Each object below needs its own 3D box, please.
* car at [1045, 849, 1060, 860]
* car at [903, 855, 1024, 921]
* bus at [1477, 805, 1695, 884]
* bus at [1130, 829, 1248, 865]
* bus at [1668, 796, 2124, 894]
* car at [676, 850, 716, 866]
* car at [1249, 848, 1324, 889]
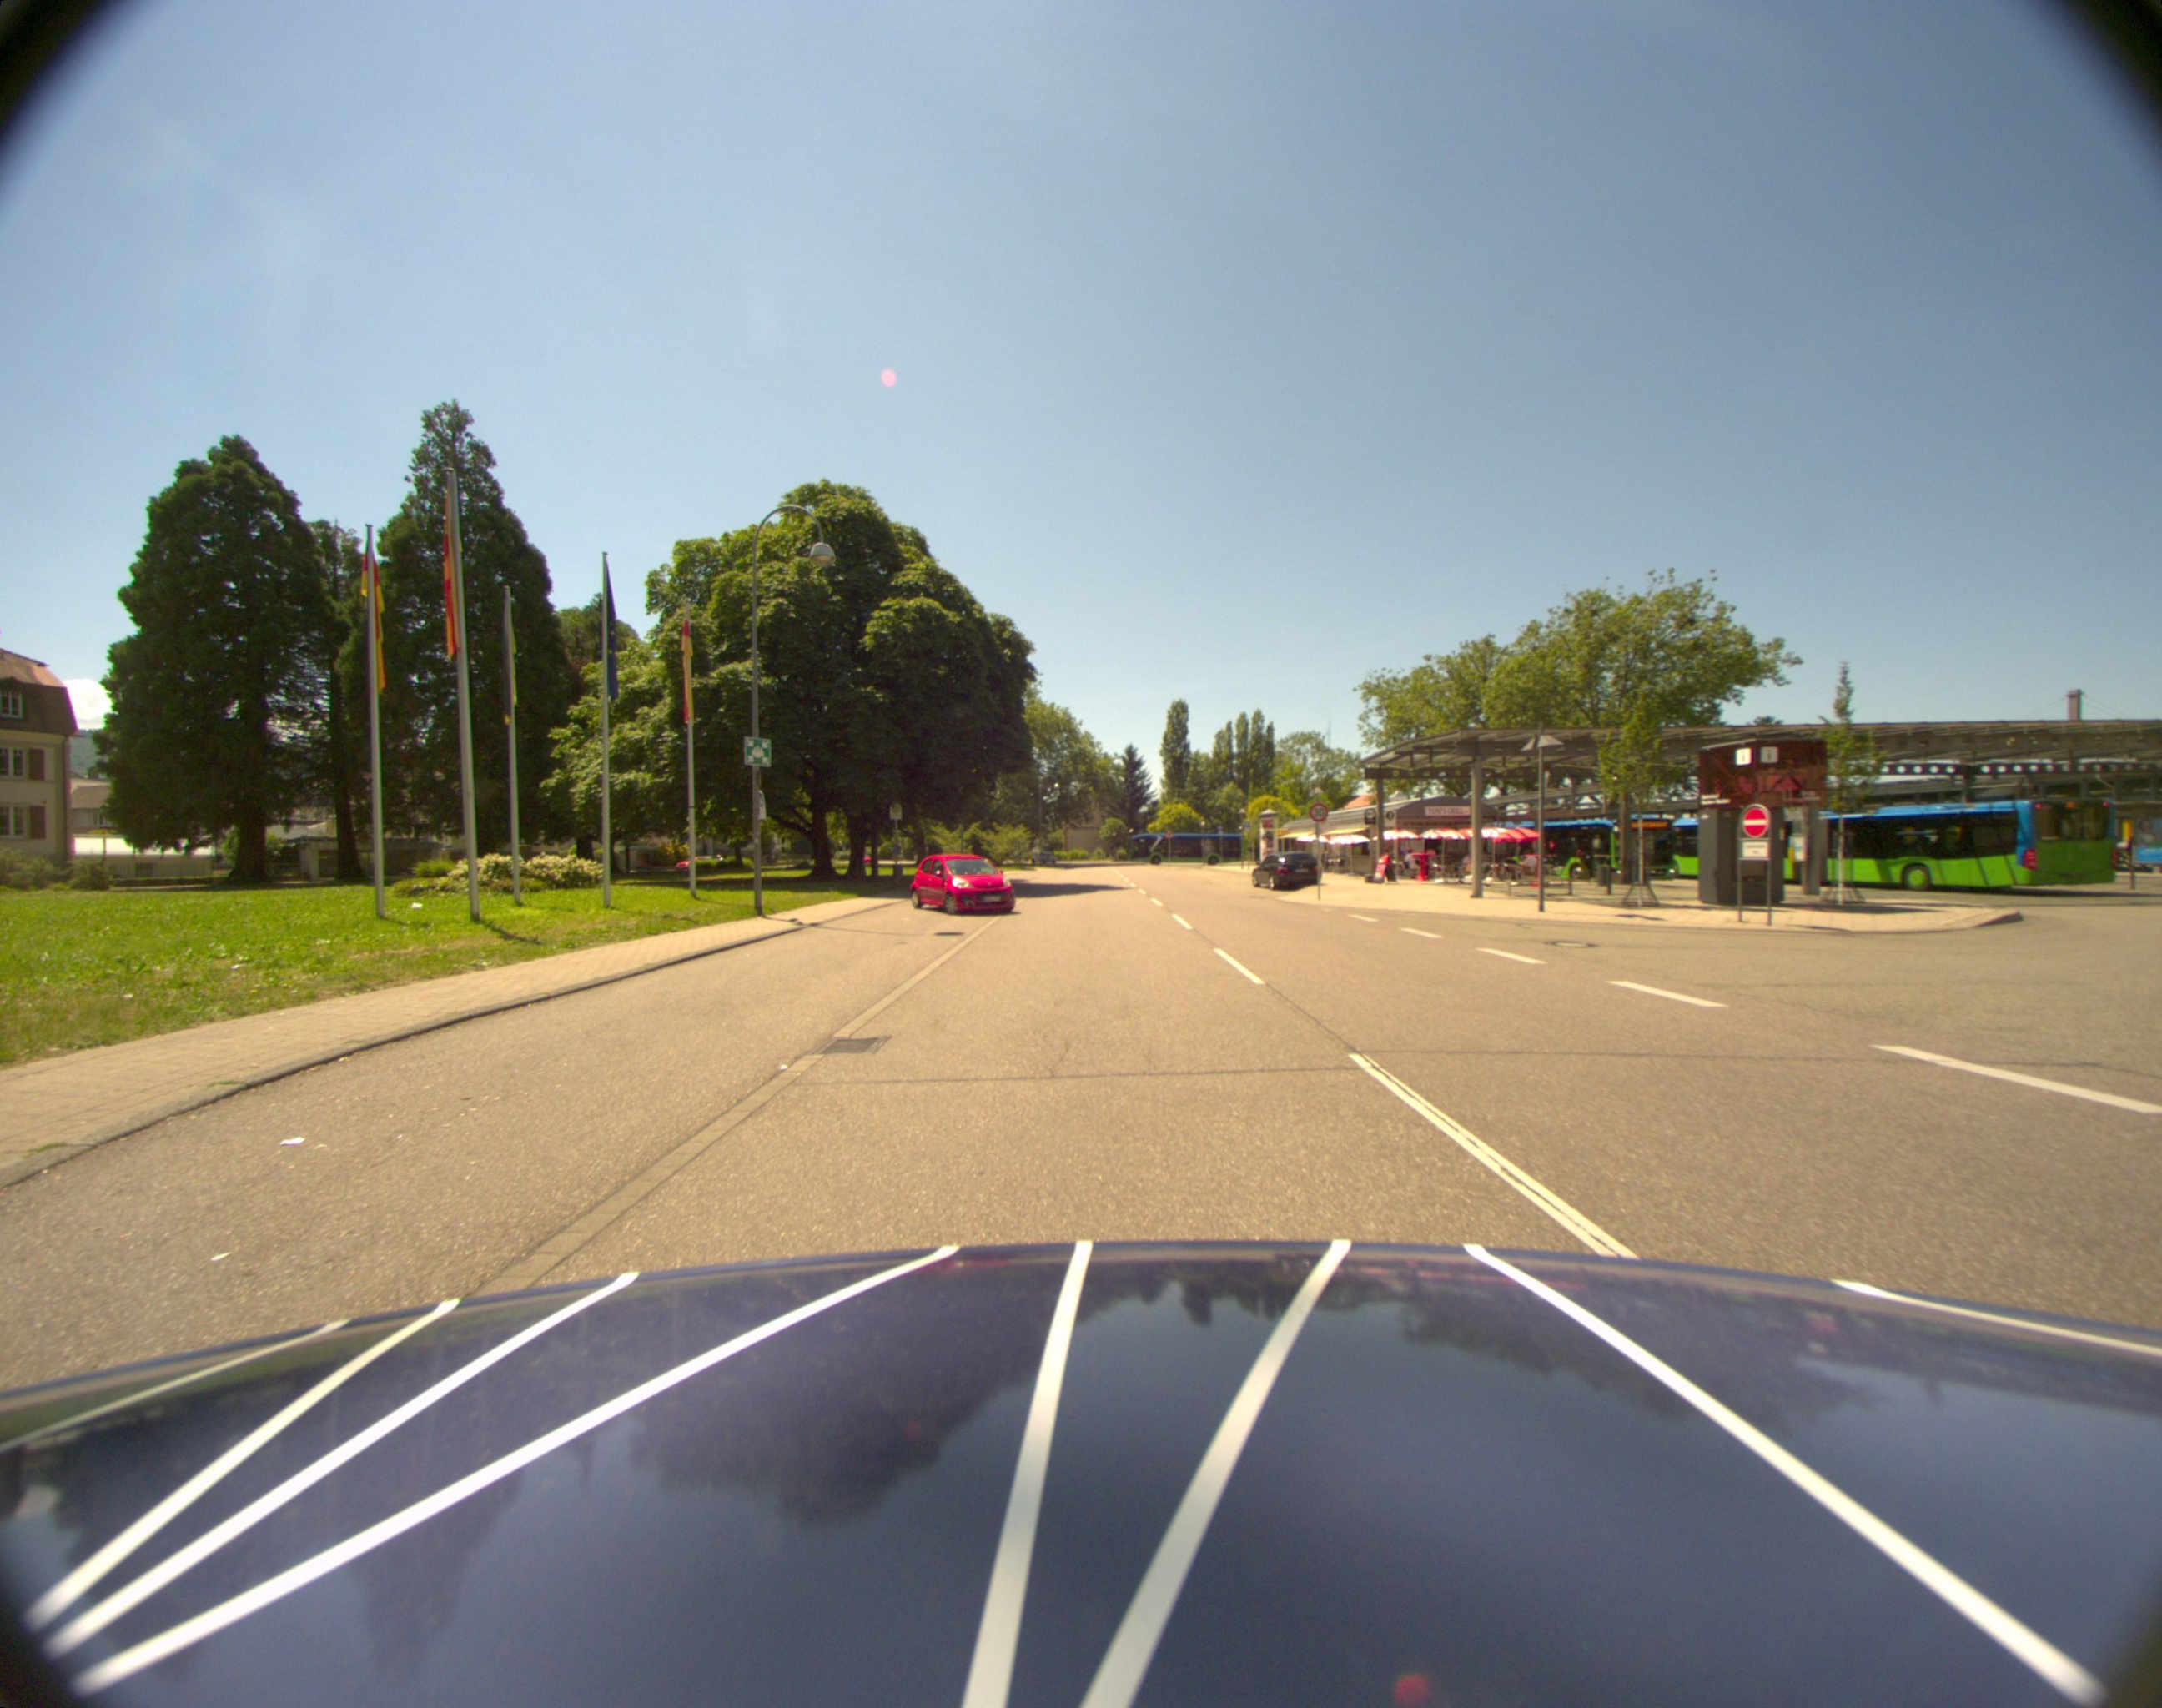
[{"bbox_3d":[-3.781,0.068,100.199,1.819,1.436,4.158,1,0,0],"label":"car"},{"bbox_3d":[-3.119,0.776,19.556,1.727,1.470,3.696,-1,1,-33],"label":"car"},{"bbox_3d":[23.717,-0.433,36.975,2.972,3.214,11.847,0,0,1],"label":"bus"},{"bbox_3d":[11.409,-0.756,80.999,12.211,3.506,2.169,-1,1,2],"label":"bus"},{"bbox_3d":[31.170,-0.302,31.259,2.874,3.019,15.518,0,0,3],"label":"bus"},{"bbox_3d":[-42.054,0.384,83.052,1.700,1.591,4.002,0,2,11],"label":"car"},{"bbox_3d":[8.196,0.528,30.747,1.723,1.470,4.785,0,1,-1],"label":"car"}]
